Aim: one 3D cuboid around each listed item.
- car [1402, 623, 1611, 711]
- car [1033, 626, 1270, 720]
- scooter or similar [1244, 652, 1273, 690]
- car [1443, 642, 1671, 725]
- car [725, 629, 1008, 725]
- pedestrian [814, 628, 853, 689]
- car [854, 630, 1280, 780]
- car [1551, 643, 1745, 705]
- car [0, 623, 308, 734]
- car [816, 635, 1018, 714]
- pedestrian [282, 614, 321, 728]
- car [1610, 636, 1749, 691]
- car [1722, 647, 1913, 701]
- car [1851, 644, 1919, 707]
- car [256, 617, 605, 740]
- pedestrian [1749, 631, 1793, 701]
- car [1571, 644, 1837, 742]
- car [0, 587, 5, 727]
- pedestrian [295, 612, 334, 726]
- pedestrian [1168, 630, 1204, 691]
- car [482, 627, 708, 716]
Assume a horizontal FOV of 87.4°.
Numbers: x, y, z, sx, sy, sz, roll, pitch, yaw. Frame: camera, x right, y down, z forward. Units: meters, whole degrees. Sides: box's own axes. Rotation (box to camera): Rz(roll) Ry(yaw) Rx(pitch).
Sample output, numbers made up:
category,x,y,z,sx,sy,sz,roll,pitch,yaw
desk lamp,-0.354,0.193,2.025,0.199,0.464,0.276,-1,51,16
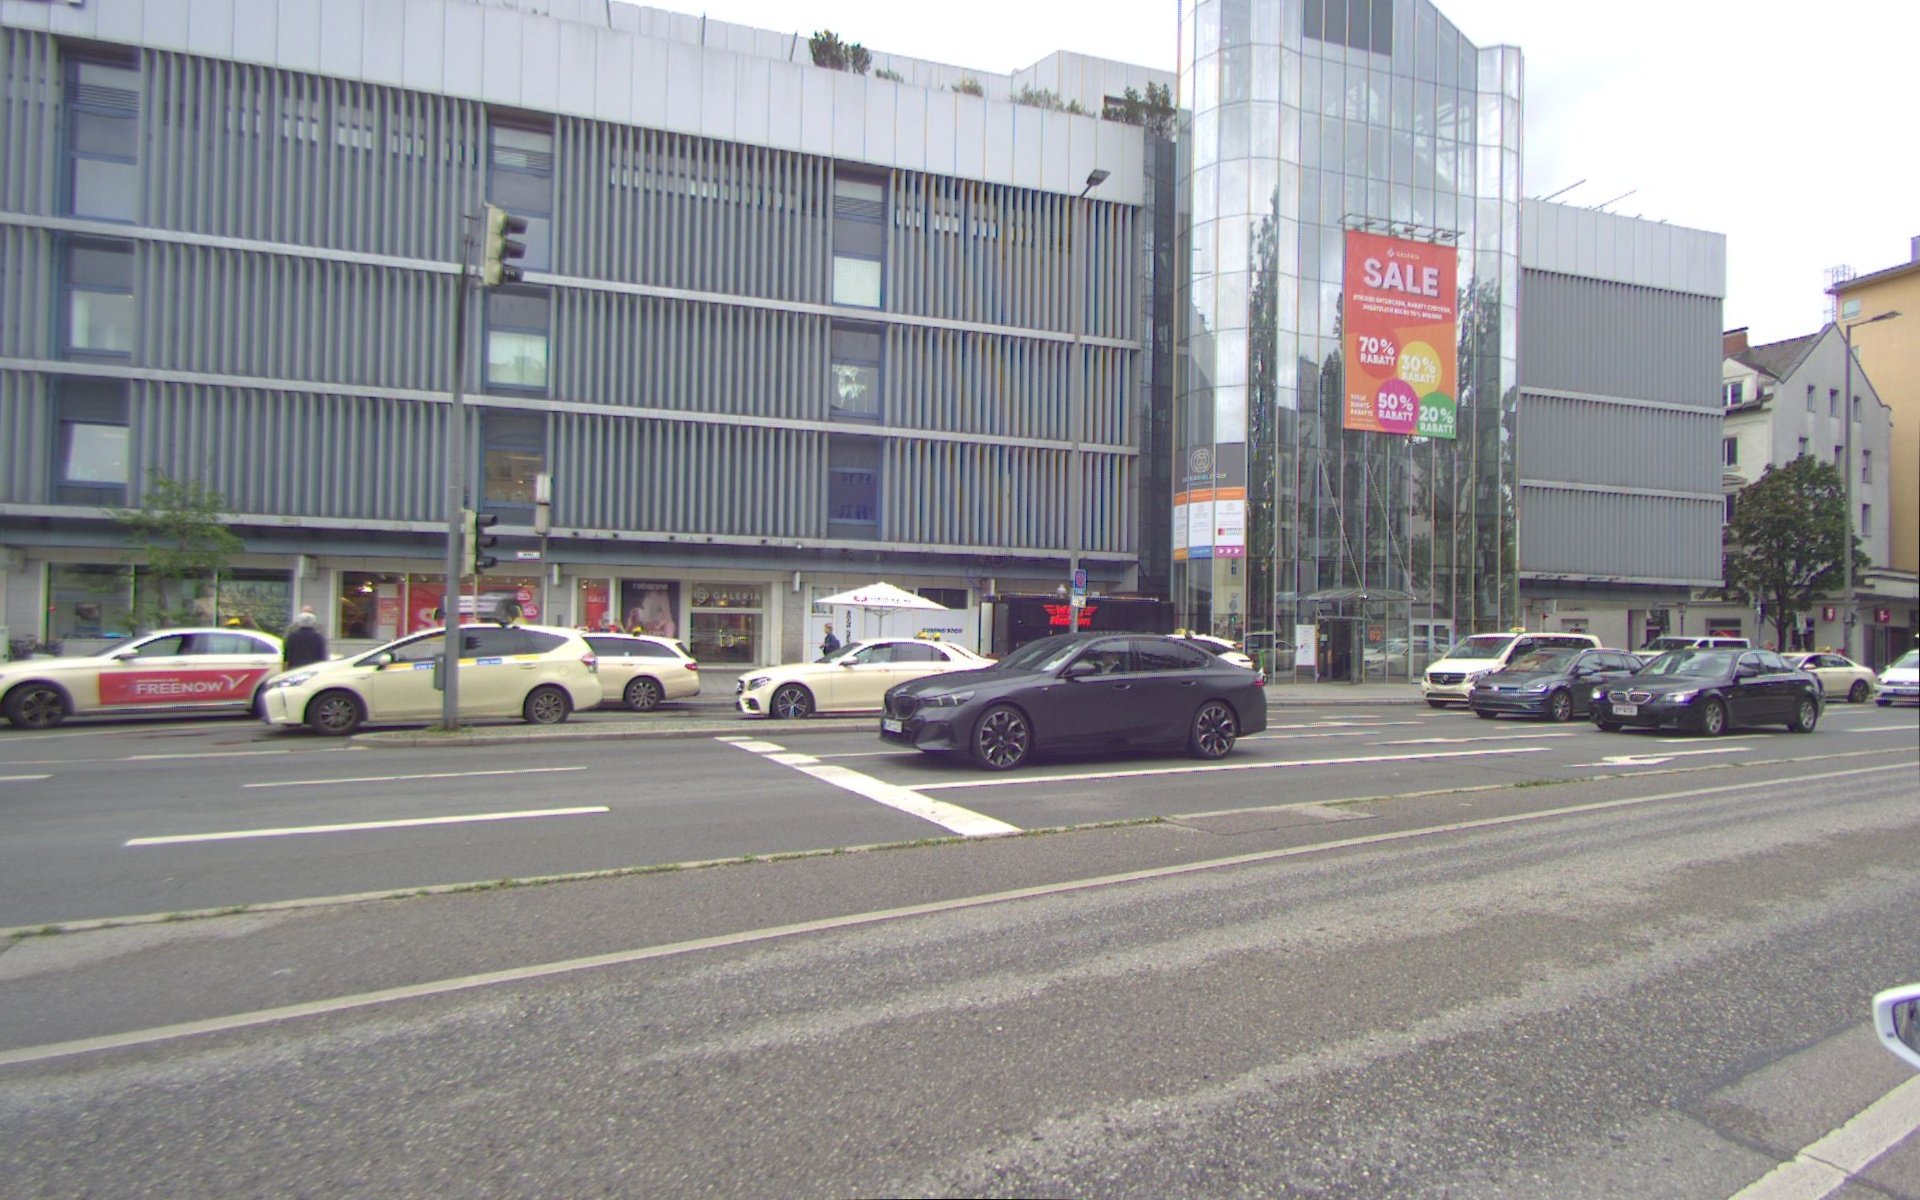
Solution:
category,x,y,z,sx,sy,sz,roll,pitch,yaw
car,13.746,1.662,25.212,5.253,2.040,1.987,2,-3,-27
car,3.815,1.444,20.134,4.315,1.720,1.884,1,-3,-19
scooter or similar,9.614,2.274,32.353,0.362,1.155,1.375,-1,-2,41
car,12.601,1.683,21.132,4.888,1.566,1.951,2,-3,-29
car,-1.697,1.338,18.167,4.774,1.561,1.944,1,-2,-20
pedestrian,-3.331,1.519,26.390,0.884,1.566,0.731,1,-2,-17
car,1.373,1.160,12.301,4.958,1.527,1.986,2,-2,-28
car,19.012,2.007,27.755,5.010,1.572,1.975,2,-2,-21
car,-12.827,1.151,15.589,4.270,1.530,1.836,2,-3,-44
car,-0.922,1.554,21.352,3.941,1.557,1.749,2,-2,-22
pedestrian,-9.912,1.066,15.127,0.420,1.677,0.362,2,-1,-30
car,28.237,2.461,39.418,5.036,2.040,1.991,1,-2,-21
car,25.308,2.177,29.667,4.900,1.488,1.858,1,-4,-16
car,26.682,2.052,27.482,4.233,1.621,1.987,2,-2,-26
car,-7.843,1.134,15.201,4.424,1.633,1.579,2,-2,-30
pedestrian,22.352,1.799,27.695,0.839,1.891,0.780,2,-2,-39
car,13.021,1.540,17.549,4.673,1.506,1.830,2,-2,-27
car,-10.483,0.700,7.383,4.534,1.801,1.989,1,-2,-24
pedestrian,-10.178,1.070,15.853,0.424,1.751,0.521,2,-1,-30
pedestrian,6.922,1.841,30.816,0.805,1.829,0.789,1,-2,-17
car,-7.135,1.350,19.665,3.949,1.587,1.900,2,-2,-27
